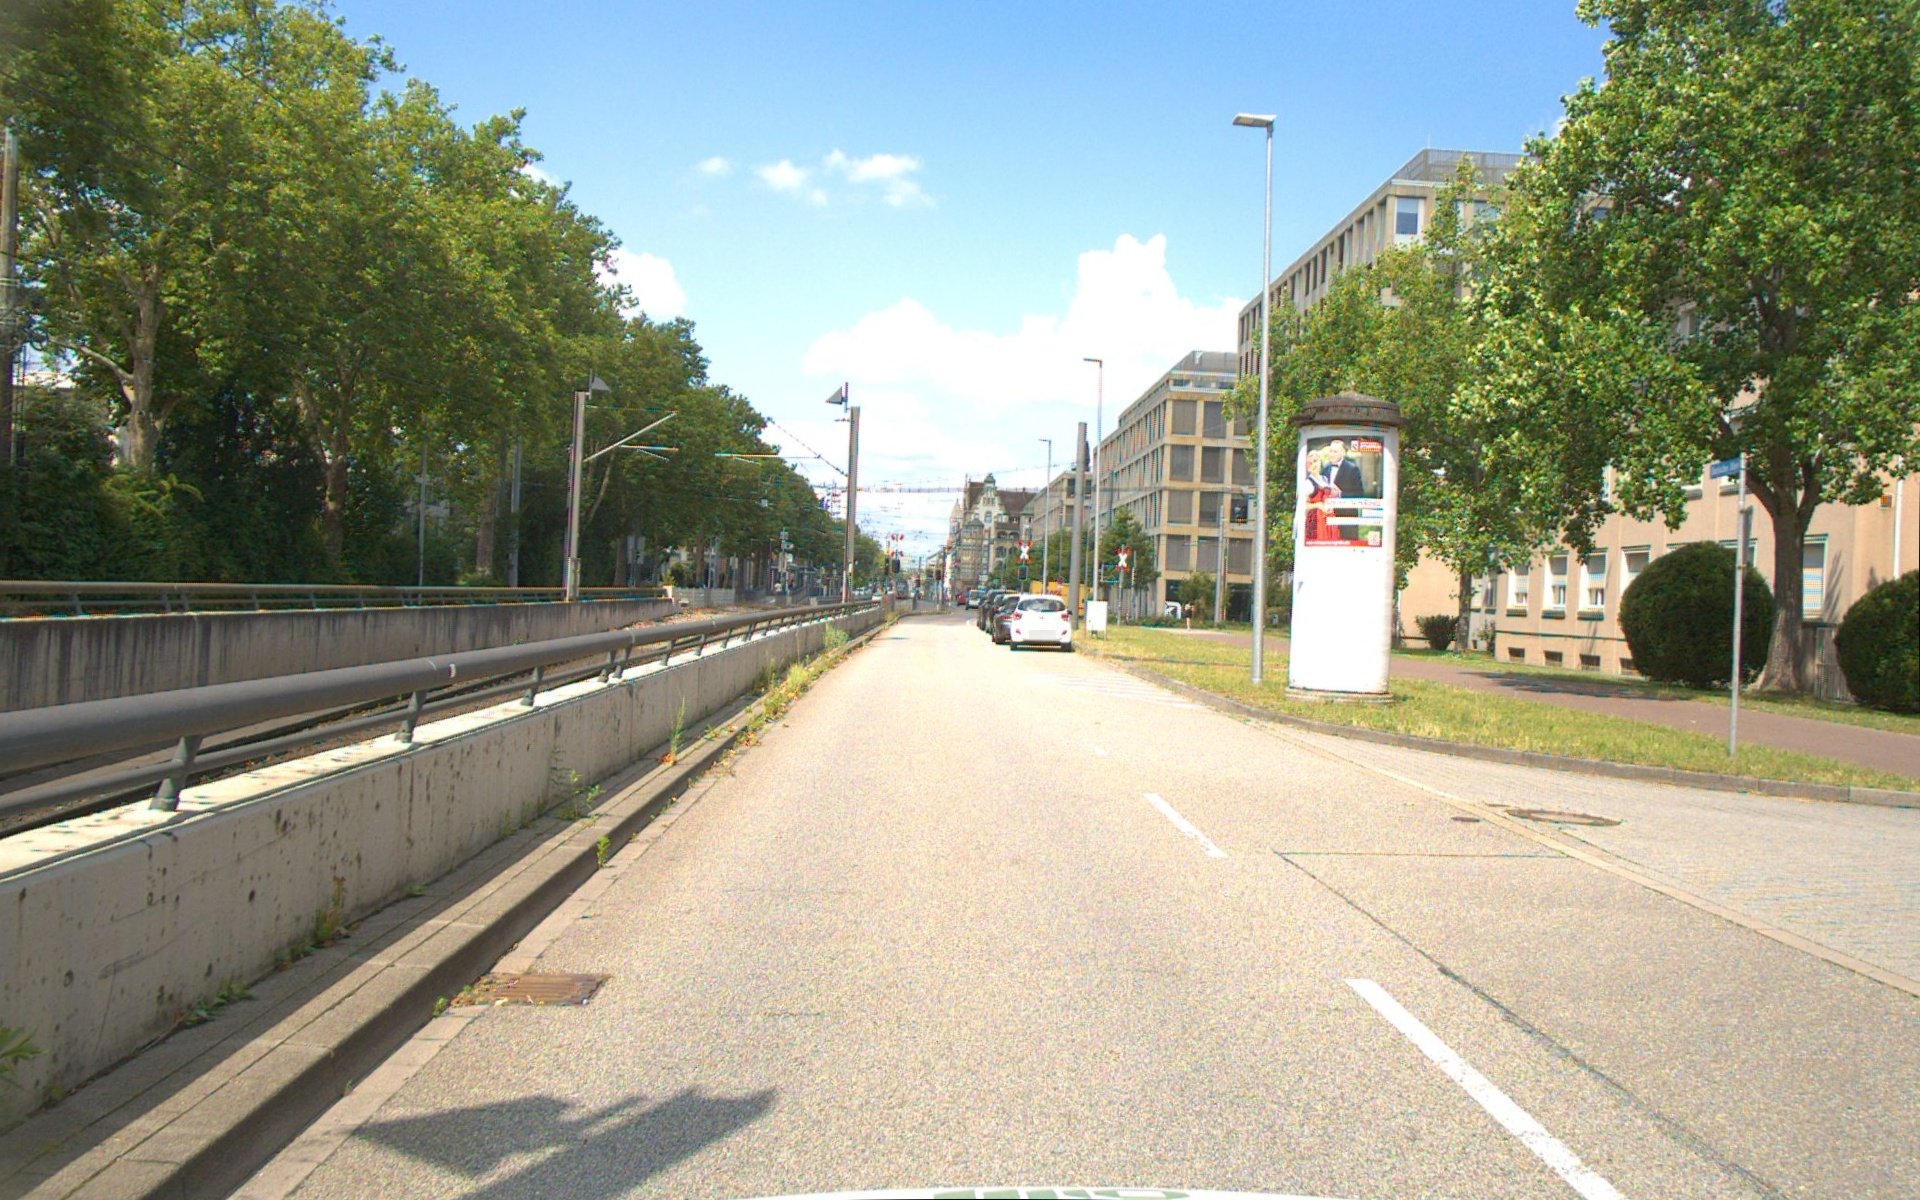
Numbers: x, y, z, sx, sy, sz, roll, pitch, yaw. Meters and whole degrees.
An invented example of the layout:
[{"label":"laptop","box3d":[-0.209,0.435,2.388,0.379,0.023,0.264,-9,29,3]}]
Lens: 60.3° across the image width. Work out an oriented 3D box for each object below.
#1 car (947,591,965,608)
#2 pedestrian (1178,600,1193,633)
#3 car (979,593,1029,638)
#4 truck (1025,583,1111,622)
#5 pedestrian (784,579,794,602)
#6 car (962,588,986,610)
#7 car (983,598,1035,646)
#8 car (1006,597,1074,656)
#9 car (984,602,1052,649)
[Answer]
[{"label":"car","box3d":[-0.484,-0.069,198.106,1.953,2.049,3.999,1,0,-1]},{"label":"pedestrian","box3d":[11.384,0.839,83.513,0.610,1.636,0.624,1,-1,-4]},{"label":"car","box3d":[1.764,0.609,67.966,1.779,1.691,4.669,1,0,-2]},{"label":"truck","box3d":[8.779,0.206,134.723,6.672,2.917,2.453,3,-1,-4]},{"label":"pedestrian","box3d":[-14.223,-0.814,137.658,0.692,1.877,0.864,1,-1,-3]},{"label":"car","box3d":[1.211,-0.055,146.197,1.831,1.777,3.998,4,0,-2]},{"label":"car","box3d":[1.636,0.714,55.746,1.635,1.541,3.850,1,0,0]},{"label":"car","box3d":[2.174,0.699,45.692,1.672,1.505,3.789,1,0,0]},{"label":"car","box3d":[1.746,0.749,50.667,1.787,1.334,4.441,2,0,-2]}]
